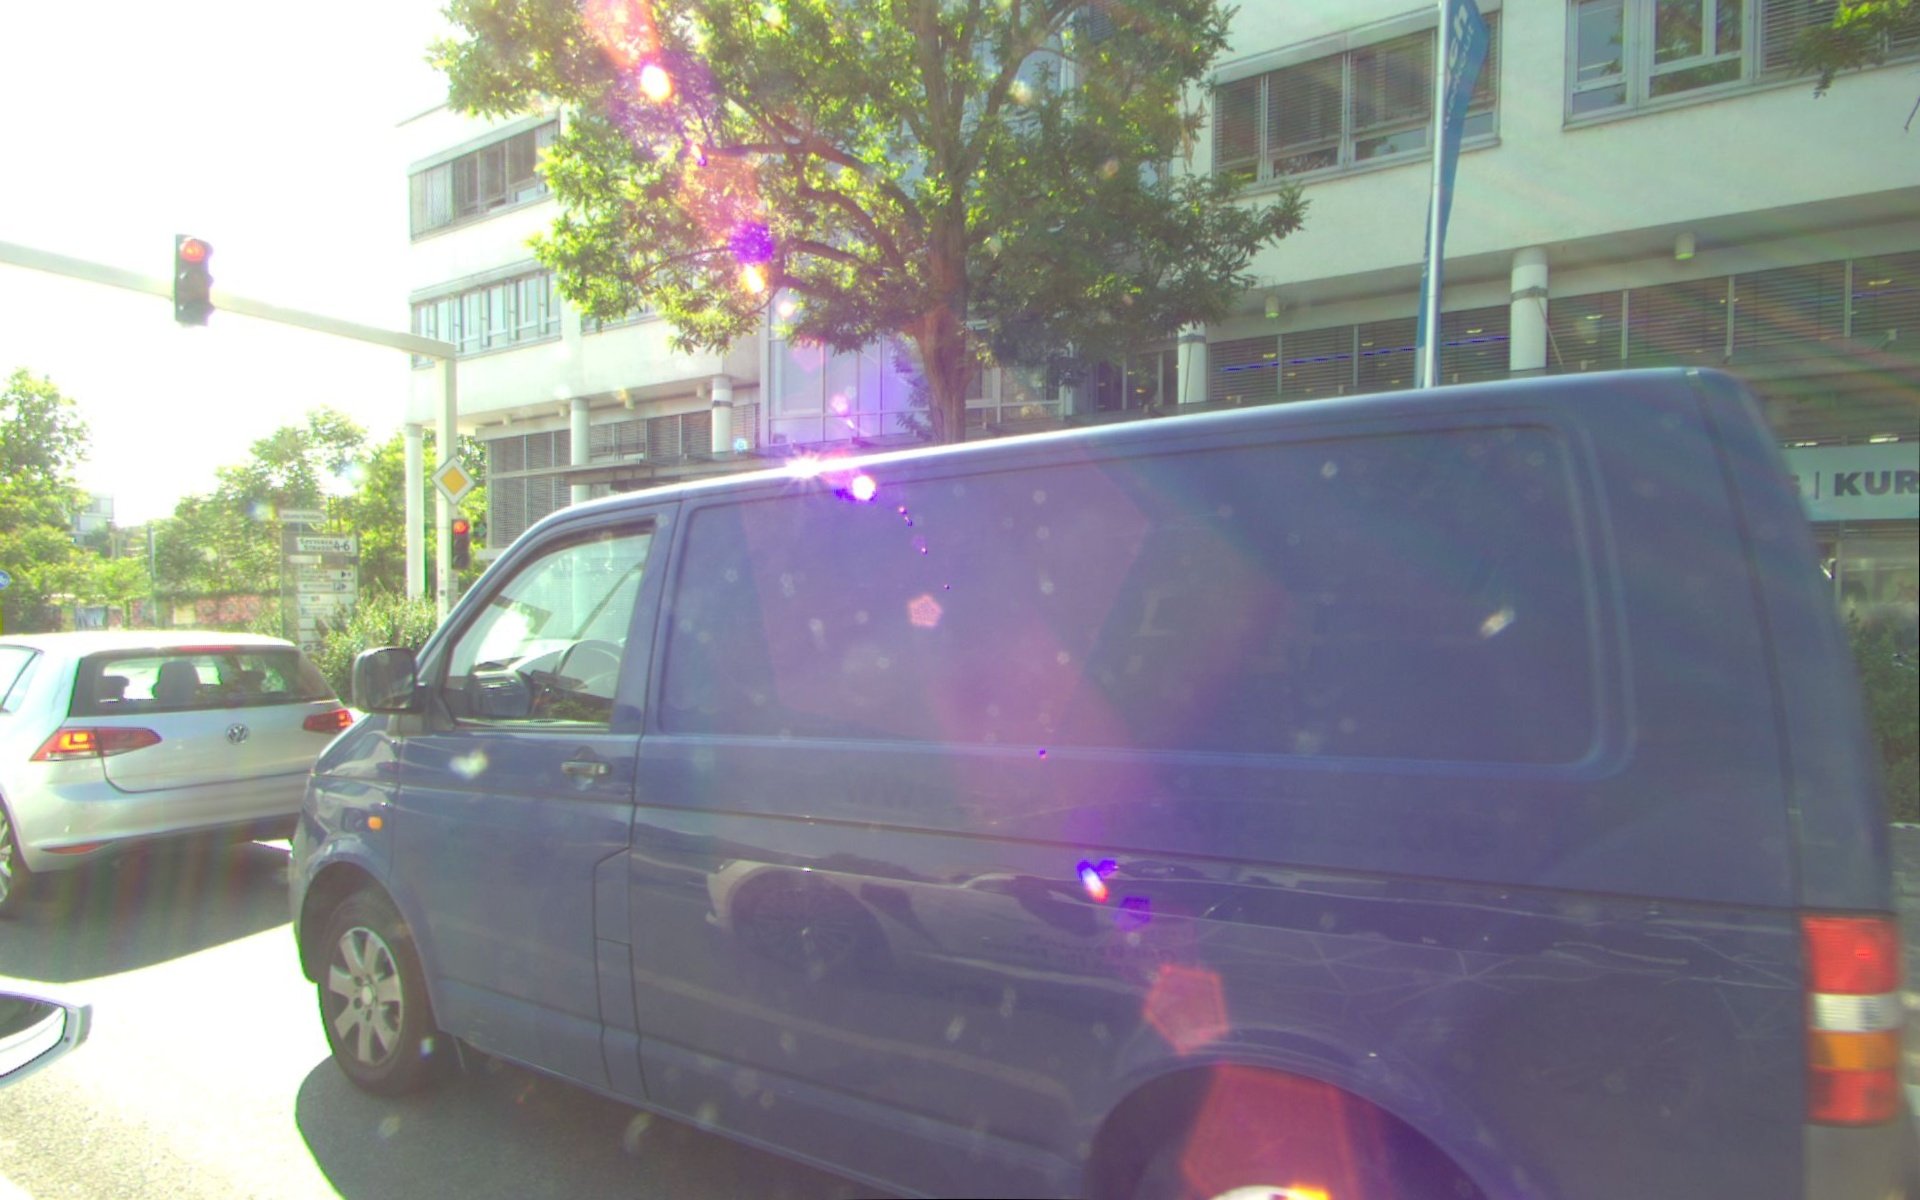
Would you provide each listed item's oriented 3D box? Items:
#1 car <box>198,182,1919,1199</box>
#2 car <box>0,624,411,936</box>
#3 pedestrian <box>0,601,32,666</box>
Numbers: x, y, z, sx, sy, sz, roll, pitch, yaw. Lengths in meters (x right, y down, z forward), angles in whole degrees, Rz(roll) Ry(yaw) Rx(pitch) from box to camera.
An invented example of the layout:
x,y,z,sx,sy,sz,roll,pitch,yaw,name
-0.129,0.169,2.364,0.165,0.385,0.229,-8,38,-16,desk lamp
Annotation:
x,y,z,sx,sy,sz,roll,pitch,yaw,name
-0.228,0.542,3.235,4.821,1.973,1.989,-1,0,32,car
-5.626,0.912,6.513,3.940,1.448,1.805,-1,-1,30,car
-30.109,1.044,31.543,1.023,2.040,1.025,0,0,32,pedestrian
